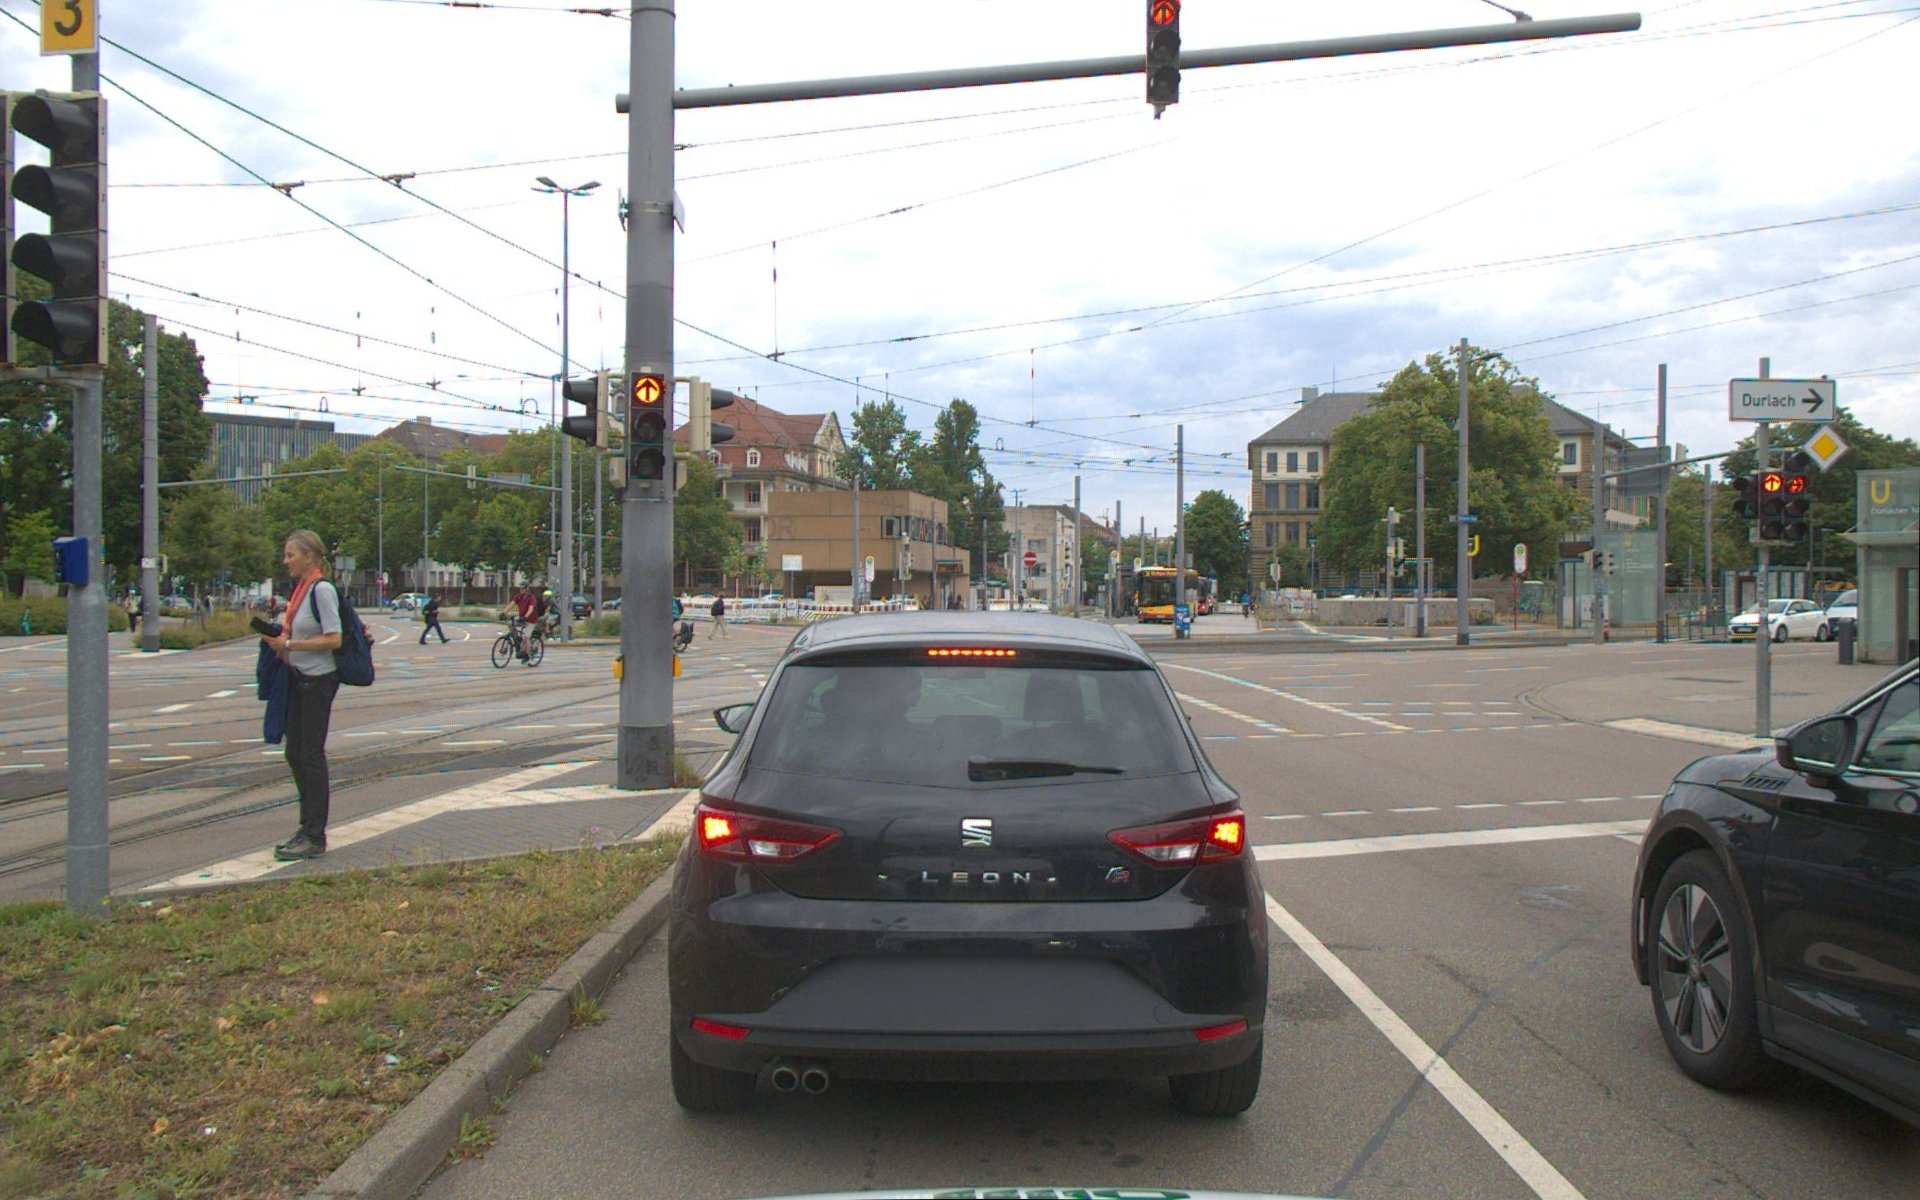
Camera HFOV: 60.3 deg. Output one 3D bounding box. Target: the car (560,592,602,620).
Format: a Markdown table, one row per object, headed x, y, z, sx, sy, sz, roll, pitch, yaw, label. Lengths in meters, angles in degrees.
| x | y | z | sx | sy | sz | roll | pitch | yaw | label |
| --- | --- | --- | --- | --- | --- | --- | --- | --- | --- |
| -23.944 | 0.392 | 104.385 | 1.966 | 1.713 | 3.973 | 0 | -1 | -22 | car |

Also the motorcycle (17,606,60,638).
| x | y | z | sx | sy | sz | roll | pitch | yaw | label |
| --- | --- | --- | --- | --- | --- | --- | --- | --- | --- |
| -37.891 | 0.886 | 67.999 | 0.503 | 1.290 | 1.463 | 0 | 0 | 43 | motorcycle |

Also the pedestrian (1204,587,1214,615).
| x | y | z | sx | sy | sz | roll | pitch | yaw | label |
| --- | --- | --- | --- | --- | --- | --- | --- | --- | --- |
| 18.522 | 0.092 | 123.063 | 0.648 | 2.049 | 0.691 | 0 | 0 | -1 | pedestrian |

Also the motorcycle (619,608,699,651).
| x | y | z | sx | sy | sz | roll | pitch | yaw | label |
| --- | --- | --- | --- | --- | --- | --- | --- | --- | --- |
| -8.531 | 0.822 | 46.936 | 2.115 | 1.159 | 0.735 | 0 | 0 | -34 | motorcycle |

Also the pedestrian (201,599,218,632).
| x | y | z | sx | sy | sz | roll | pitch | yaw | label |
| --- | --- | --- | --- | --- | --- | --- | --- | --- | --- |
| -46.930 | 0.975 | 103.386 | 0.865 | 2.016 | 0.791 | 0 | -1 | -19 | pedestrian |

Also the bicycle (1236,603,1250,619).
| x | y | z | sx | sy | sz | roll | pitch | yaw | label |
| --- | --- | --- | --- | --- | --- | --- | --- | --- | --- |
| 19.697 | 0.758 | 115.065 | 0.847 | 1.124 | 2.304 | 0 | 0 | 11 | bicycle |

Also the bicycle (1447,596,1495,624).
| x | y | z | sx | sy | sz | roll | pitch | yaw | label |
| --- | --- | --- | --- | --- | --- | --- | --- | --- | --- |
| 25.530 | 0.498 | 82.635 | 2.214 | 1.354 | 0.707 | -1 | -1 | 6 | bicycle |

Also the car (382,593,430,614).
| x | y | z | sx | sy | sz | roll | pitch | yaw | label |
| --- | --- | --- | --- | --- | --- | --- | --- | --- | --- |
| -48.113 | 0.342 | 143.663 | 3.907 | 1.803 | 1.715 | 0 | 0 | 25 | car |

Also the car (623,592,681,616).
| x | y | z | sx | sy | sz | roll | pitch | yaw | label |
| --- | --- | --- | --- | --- | --- | --- | --- | --- | --- |
| -22.838 | 0.332 | 122.672 | 3.905 | 1.713 | 2.000 | 0 | -1 | 0 | car |

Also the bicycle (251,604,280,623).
| x | y | z | sx | sy | sz | roll | pitch | yaw | label |
| --- | --- | --- | --- | --- | --- | --- | --- | --- | --- |
| -45.637 | 0.902 | 108.710 | 0.921 | 1.199 | 2.727 | 0 | 0 | -4 | bicycle |

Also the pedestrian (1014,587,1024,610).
| x | y | z | sx | sy | sz | roll | pitch | yaw | label |
| --- | --- | --- | --- | --- | --- | --- | --- | --- | --- |
| 4.936 | -0.113 | 137.585 | 0.609 | 1.952 | 0.710 | -1 | -1 | 25 | pedestrian |

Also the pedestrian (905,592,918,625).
| x | y | z | sx | sy | sz | roll | pitch | yaw | label |
| --- | --- | --- | --- | --- | --- | --- | --- | --- | --- |
| -2.869 | 0.512 | 97.315 | 0.693 | 1.951 | 0.624 | 0 | 0 | 7 | pedestrian |

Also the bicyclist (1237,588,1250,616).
| x | y | z | sx | sy | sz | roll | pitch | yaw | label |
| --- | --- | --- | --- | --- | --- | --- | --- | --- | --- |
| 19.710 | 0.132 | 115.151 | 0.852 | 1.884 | 1.048 | 0 | 0 | 12 | bicyclist |

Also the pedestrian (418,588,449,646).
| x | y | z | sx | sy | sz | roll | pitch | yaw | label |
| --- | --- | --- | --- | --- | --- | --- | --- | --- | --- |
| -18.778 | 0.604 | 58.970 | 1.006 | 2.049 | 0.841 | 0 | 0 | -20 | pedestrian |

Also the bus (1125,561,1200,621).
| x | y | z | sx | sy | sz | roll | pitch | yaw | label |
| --- | --- | --- | --- | --- | --- | --- | --- | --- | --- |
| 11.561 | -0.518 | 93.631 | 2.897 | 3.178 | 11.548 | 0 | 0 | 14 | bus |

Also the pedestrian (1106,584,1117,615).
| x | y | z | sx | sy | sz | roll | pitch | yaw | label |
| --- | --- | --- | --- | --- | --- | --- | --- | --- | --- |
| 9.536 | -0.028 | 104.198 | 0.608 | 1.951 | 0.699 | 0 | 0 | 9 | pedestrian |

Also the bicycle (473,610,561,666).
| x | y | z | sx | sy | sz | roll | pitch | yaw | label |
| --- | --- | --- | --- | --- | --- | --- | --- | --- | --- |
| -9.923 | 0.833 | 37.143 | 0.760 | 1.205 | 2.030 | 0 | 0 | 27 | bicycle |

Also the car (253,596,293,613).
| x | y | z | sx | sy | sz | roll | pitch | yaw | label |
| --- | --- | --- | --- | --- | --- | --- | --- | --- | --- |
| -59.226 | 0.396 | 142.505 | 3.930 | 1.489 | 1.770 | 0 | 0 | 43 | car |

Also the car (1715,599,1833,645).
| x | y | z | sx | sy | sz | roll | pitch | yaw | label |
| --- | --- | --- | --- | --- | --- | --- | --- | --- | --- |
| 27.485 | 0.734 | 55.825 | 3.948 | 1.490 | 1.756 | 0 | -1 | -32 | car |

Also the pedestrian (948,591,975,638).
| x | y | z | sx | sy | sz | roll | pitch | yaw | label |
| --- | --- | --- | --- | --- | --- | --- | --- | --- | --- |
| 0.066 | 0.617 | 70.947 | 0.687 | 1.968 | 1.026 | 0 | 0 | 38 | pedestrian |

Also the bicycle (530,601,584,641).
| x | y | z | sx | sy | sz | roll | pitch | yaw | label |
| --- | --- | --- | --- | --- | --- | --- | --- | --- | --- |
| -13.953 | 0.724 | 57.280 | 1.709 | 1.345 | 0.640 | 0 | 0 | -27 | bicycle |

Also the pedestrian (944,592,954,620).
| x | y | z | sx | sy | sz | roll | pitch | yaw | label |
| --- | --- | --- | --- | --- | --- | --- | --- | --- | --- |
| -0.751 | 0.411 | 113.677 | 0.608 | 1.951 | 0.711 | 0 | 0 | 2 | pedestrian |

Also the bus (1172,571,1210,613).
| x | y | z | sx | sy | sz | roll | pitch | yaw | label |
| --- | --- | --- | --- | --- | --- | --- | --- | --- | --- |
| 19.162 | -0.648 | 136.959 | 2.597 | 3.340 | 11.004 | 0 | 0 | 10 | bus |

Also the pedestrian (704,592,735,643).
| x | y | z | sx | sy | sz | roll | pitch | yaw | label |
| --- | --- | --- | --- | --- | --- | --- | --- | --- | --- |
| -9.250 | 0.661 | 63.556 | 1.015 | 1.968 | 0.695 | 0 | 0 | -26 | pedestrian |

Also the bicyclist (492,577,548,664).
| x | y | z | sx | sy | sz | roll | pitch | yaw | label |
| --- | --- | --- | --- | --- | --- | --- | --- | --- | --- |
| -9.892 | 0.458 | 37.201 | 0.760 | 1.931 | 0.996 | 0 | 0 | 28 | bicyclist |

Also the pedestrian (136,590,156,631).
| x | y | z | sx | sy | sz | roll | pitch | yaw | label |
| --- | --- | --- | --- | --- | --- | --- | --- | --- | --- |
| -40.629 | 0.539 | 82.555 | 0.787 | 2.016 | 0.870 | 1 | -2 | -35 | pedestrian |

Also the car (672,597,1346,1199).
| x | y | z | sx | sy | sz | roll | pitch | yaw | label |
| --- | --- | --- | --- | --- | --- | --- | --- | --- | --- |
| -0.015 | 0.734 | 5.976 | 1.671 | 1.474 | 3.808 | 0 | 0 | -5 | car |

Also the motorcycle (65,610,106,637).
| x | y | z | sx | sy | sz | roll | pitch | yaw | label |
| --- | --- | --- | --- | --- | --- | --- | --- | --- | --- |
| -36.973 | 0.989 | 69.942 | 0.499 | 1.130 | 1.746 | 0 | 0 | 12 | motorcycle |

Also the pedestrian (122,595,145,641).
| x | y | z | sx | sy | sz | roll | pitch | yaw | label |
| --- | --- | --- | --- | --- | --- | --- | --- | --- | --- |
| -37.049 | 0.811 | 74.150 | 0.787 | 2.016 | 0.870 | 1 | -2 | -35 | pedestrian |

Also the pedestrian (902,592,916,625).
| x | y | z | sx | sy | sz | roll | pitch | yaw | label |
| --- | --- | --- | --- | --- | --- | --- | --- | --- | --- |
| -2.986 | 0.499 | 96.517 | 0.693 | 1.951 | 0.624 | 0 | 0 | 7 | pedestrian |

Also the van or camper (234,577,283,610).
| x | y | z | sx | sy | sz | roll | pitch | yaw | label |
| --- | --- | --- | --- | --- | --- | --- | --- | --- | --- |
| -69.245 | -0.607 | 163.187 | 5.403 | 3.179 | 2.382 | 0 | 0 | 41 | van or camper |

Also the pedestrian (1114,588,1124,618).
| x | y | z | sx | sy | sz | roll | pitch | yaw | label |
| --- | --- | --- | --- | --- | --- | --- | --- | --- | --- |
| 10.183 | 0.195 | 105.677 | 0.608 | 1.951 | 0.711 | 0 | 0 | 2 | pedestrian |

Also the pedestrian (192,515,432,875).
| x | y | z | sx | sy | sz | roll | pitch | yaw | label |
| --- | --- | --- | --- | --- | --- | --- | --- | --- | --- |
| -3.737 | 0.518 | 9.563 | 1.096 | 1.940 | 0.724 | 1 | -1 | -44 | pedestrian |

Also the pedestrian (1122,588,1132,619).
| x | y | z | sx | sy | sz | roll | pitch | yaw | label |
| --- | --- | --- | --- | --- | --- | --- | --- | --- | --- |
| 10.567 | 0.201 | 104.628 | 0.608 | 1.951 | 0.699 | 0 | 0 | 9 | pedestrian |

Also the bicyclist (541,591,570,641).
| x | y | z | sx | sy | sz | roll | pitch | yaw | label |
| --- | --- | --- | --- | --- | --- | --- | --- | --- | --- |
| -14.009 | 0.542 | 57.252 | 0.843 | 1.702 | 0.649 | 0 | 0 | -26 | bicyclist |

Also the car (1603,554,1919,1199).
| x | y | z | sx | sy | sz | roll | pitch | yaw | label |
| --- | --- | --- | --- | --- | --- | --- | --- | --- | --- |
| 3.271 | 0.702 | 3.768 | 1.741 | 1.625 | 4.508 | 0 | 0 | -2 | car |

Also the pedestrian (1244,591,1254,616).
| x | y | z | sx | sy | sz | roll | pitch | yaw | label |
| --- | --- | --- | --- | --- | --- | --- | --- | --- | --- |
| 23.461 | 0.284 | 134.314 | 0.648 | 2.049 | 0.691 | 0 | 0 | -1 | pedestrian |

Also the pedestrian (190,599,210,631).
| x | y | z | sx | sy | sz | roll | pitch | yaw | label |
| --- | --- | --- | --- | --- | --- | --- | --- | --- | --- |
| -48.031 | 0.935 | 104.478 | 0.860 | 2.016 | 0.796 | 0 | -1 | 2 | pedestrian |

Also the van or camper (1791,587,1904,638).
| x | y | z | sx | sy | sz | roll | pitch | yaw | label |
| --- | --- | --- | --- | --- | --- | --- | --- | --- | --- |
| 32.120 | 0.471 | 59.839 | 4.257 | 1.773 | 1.974 | 0 | -1 | -36 | van or camper |

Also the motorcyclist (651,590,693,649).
| x | y | z | sx | sy | sz | roll | pitch | yaw | label |
| --- | --- | --- | --- | --- | --- | --- | --- | --- | --- |
| -8.219 | 0.549 | 47.154 | 0.968 | 1.678 | 0.741 | 0 | -1 | -34 | motorcyclist |
